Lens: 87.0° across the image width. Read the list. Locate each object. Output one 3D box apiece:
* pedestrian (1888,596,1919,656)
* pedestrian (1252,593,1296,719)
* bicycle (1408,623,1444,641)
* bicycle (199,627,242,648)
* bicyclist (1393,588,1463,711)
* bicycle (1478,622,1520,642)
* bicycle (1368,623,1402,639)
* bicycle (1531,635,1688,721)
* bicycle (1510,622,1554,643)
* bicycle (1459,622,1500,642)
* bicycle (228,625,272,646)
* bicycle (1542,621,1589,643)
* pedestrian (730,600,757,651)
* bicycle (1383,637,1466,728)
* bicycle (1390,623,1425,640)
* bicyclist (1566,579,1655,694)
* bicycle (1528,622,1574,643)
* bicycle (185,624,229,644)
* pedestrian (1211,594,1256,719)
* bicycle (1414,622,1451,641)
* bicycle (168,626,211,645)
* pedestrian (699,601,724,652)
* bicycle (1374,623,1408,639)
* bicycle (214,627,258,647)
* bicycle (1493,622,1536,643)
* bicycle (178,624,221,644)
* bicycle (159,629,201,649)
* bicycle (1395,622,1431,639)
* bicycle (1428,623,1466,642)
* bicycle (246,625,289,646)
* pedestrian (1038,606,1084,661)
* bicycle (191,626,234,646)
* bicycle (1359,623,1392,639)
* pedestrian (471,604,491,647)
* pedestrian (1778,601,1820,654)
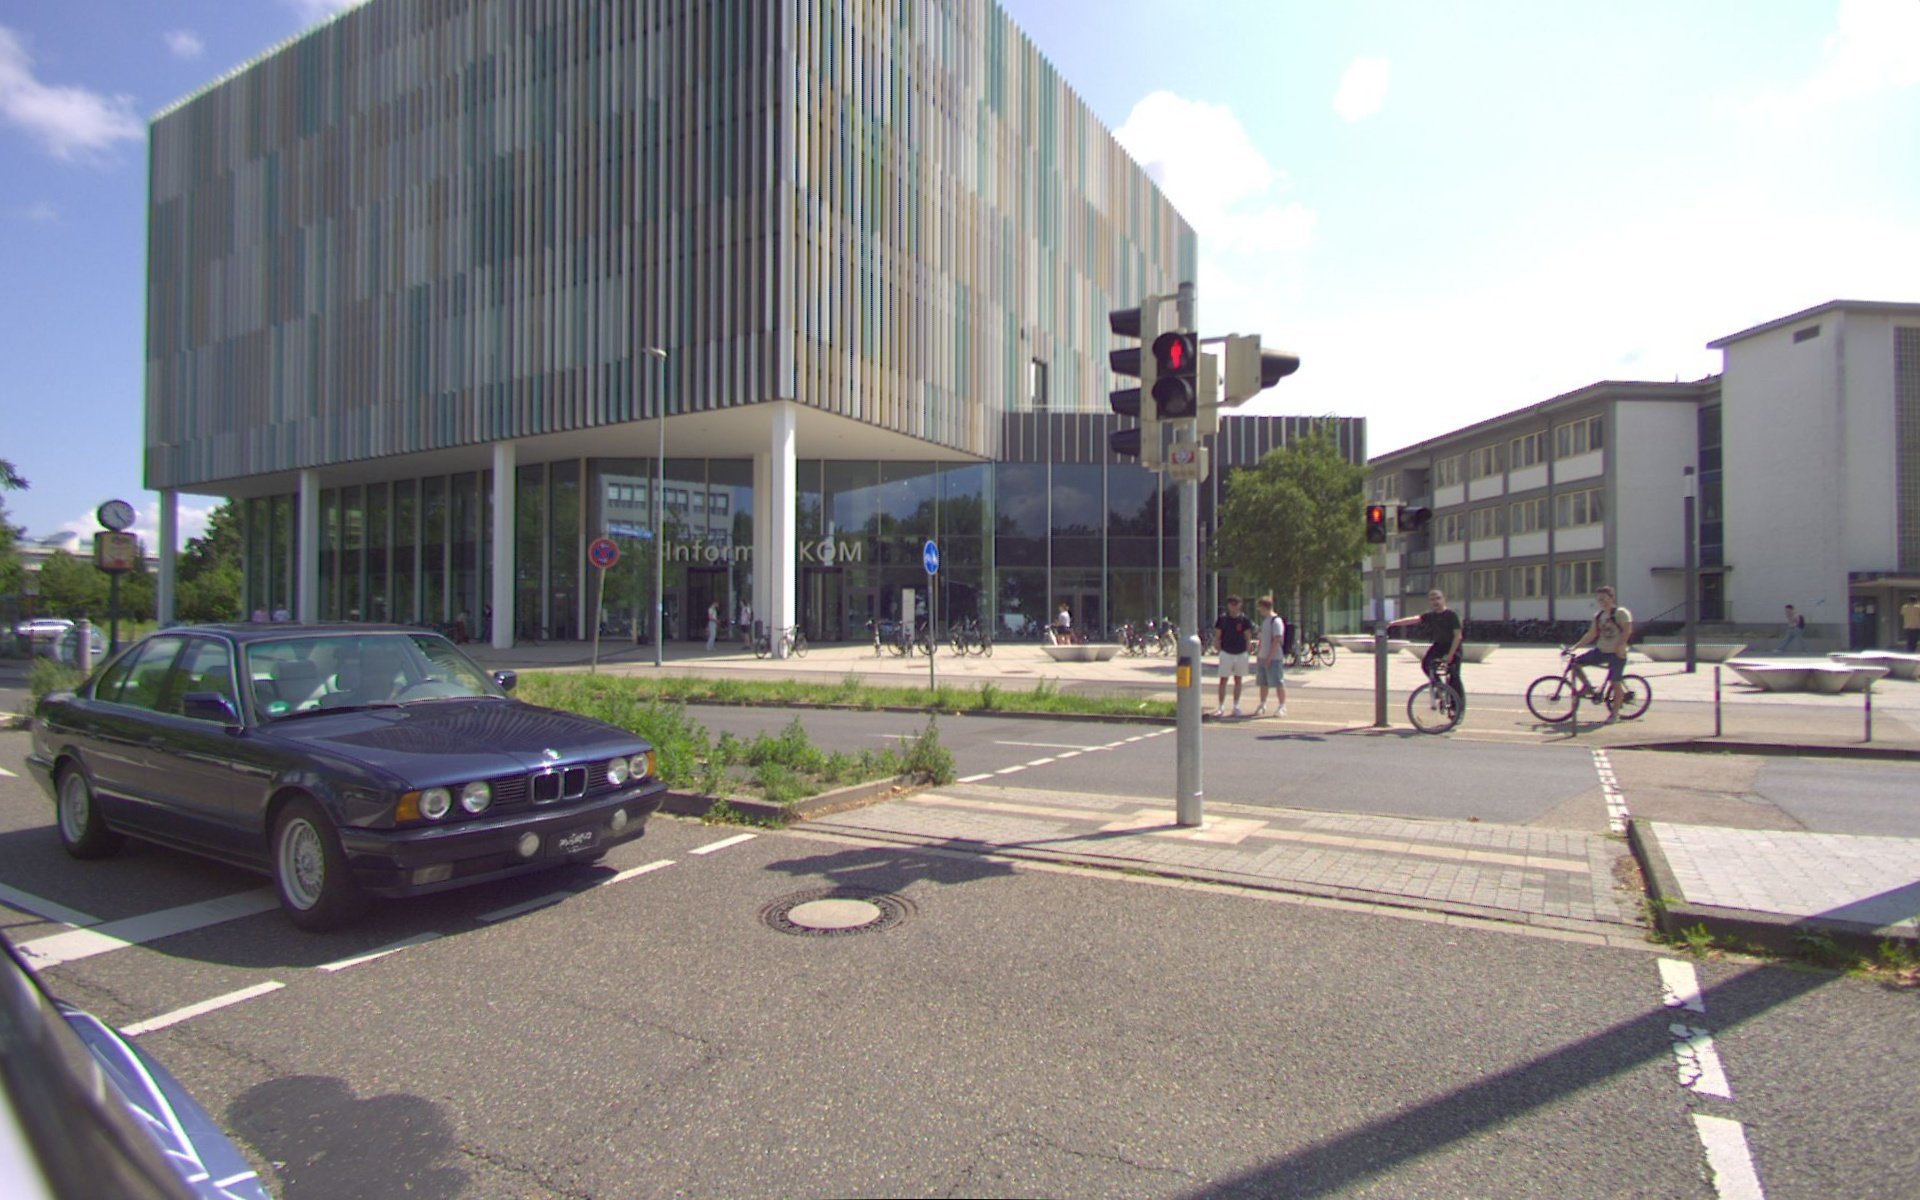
[{"bbox_3d":[27.141,0.721,28.612,1.299,1.663,1.307,-2,-2,43],"label":"pedestrian"},{"bbox_3d":[4.747,0.832,15.291,0.572,1.856,0.412,-1,-1,25],"label":"pedestrian"},{"bbox_3d":[25.718,1.744,55.855,1.749,0.962,0.529,0,1,2],"label":"bicycle"},{"bbox_3d":[-37.417,1.896,51.231,0.431,0.962,1.767,-1,0,29],"label":"bicycle"},{"bbox_3d":[6.488,0.664,14.019,0.656,1.628,0.987,-1,-2,37],"label":"bicyclist"},{"bbox_3d":[26.592,1.591,49.904,1.749,0.962,0.529,0,1,2],"label":"bicycle"},{"bbox_3d":[25.418,1.857,60.535,1.749,0.962,0.529,0,1,2],"label":"bicycle"},{"bbox_3d":[8.938,1.064,13.978,1.650,1.133,0.694,-1,-1,6],"label":"bicycle"},{"bbox_3d":[26.848,1.526,47.485,1.749,0.962,0.529,0,1,2],"label":"bicycle"},{"bbox_3d":[26.206,1.614,51.085,1.749,0.962,0.529,0,1,2],"label":"bicycle"},{"bbox_3d":[-35.237,1.767,50.227,0.431,0.962,1.767,-1,0,29],"label":"bicycle"},{"bbox_3d":[27.042,1.443,45.191,1.749,0.962,0.529,0,1,2],"label":"bicycle"},{"bbox_3d":[-7.978,0.945,37.340,0.677,1.856,0.682,-1,-1,38],"label":"pedestrian"},{"bbox_3d":[6.384,1.093,13.871,0.694,1.133,1.650,-1,-1,37],"label":"bicycle"},{"bbox_3d":[25.687,1.817,58.046,1.749,0.962,0.529,0,1,2],"label":"bicycle"},{"bbox_3d":[8.974,0.495,13.986,0.776,1.550,0.656,-1,-1,6],"label":"bicyclist"},{"bbox_3d":[26.982,1.485,46.182,1.749,0.962,0.529,0,1,2],"label":"bicycle"},{"bbox_3d":[-38.834,1.738,52.213,0.431,0.962,1.767,-1,0,29],"label":"bicycle"},{"bbox_3d":[4.139,0.839,15.325,0.627,1.856,0.477,-1,0,16],"label":"pedestrian"},{"bbox_3d":[25.638,1.704,54.964,1.749,0.962,0.529,0,1,2],"label":"bicycle"},{"bbox_3d":[-40.399,1.852,53.057,0.431,0.962,1.767,-1,0,29],"label":"bicycle"},{"bbox_3d":[-9.035,0.952,36.799,0.775,1.856,0.519,0,-1,-25],"label":"pedestrian"},{"bbox_3d":[25.479,1.833,59.872,1.749,0.962,0.529,0,1,2],"label":"bicycle"},{"bbox_3d":[-36.193,1.842,50.625,0.431,0.962,1.767,-1,0,29],"label":"bicycle"},{"bbox_3d":[26.721,1.559,48.808,1.749,0.962,0.529,0,1,2],"label":"bicycle"},{"bbox_3d":[-39.518,1.774,52.582,0.431,0.962,1.767,-1,0,29],"label":"bicycle"},{"bbox_3d":[-41.352,2.043,53.673,0.431,0.962,1.767,-1,0,29],"label":"bicycle"},{"bbox_3d":[25.688,1.741,57.388,1.749,0.962,0.529,0,1,2],"label":"bicycle"},{"bbox_3d":[25.800,1.736,53.659,1.749,0.962,0.529,0,1,2],"label":"bicycle"},{"bbox_3d":[-34.009,1.754,49.717,0.431,0.962,1.767,-1,0,29],"label":"bicycle"},{"bbox_3d":[3.150,1.028,31.503,1.011,1.663,1.170,-1,-2,30],"label":"pedestrian"},{"bbox_3d":[-38.281,1.833,51.833,0.431,0.962,1.767,-1,0,29],"label":"bicycle"},{"bbox_3d":[25.383,1.890,61.798,1.749,0.962,0.529,0,1,2],"label":"bicycle"},{"bbox_3d":[-20.890,1.093,44.140,0.551,1.856,0.558,-1,0,23],"label":"pedestrian"},{"bbox_3d":[28.653,0.943,34.562,0.831,1.803,0.677,0,-1,-1],"label":"pedestrian"}]
